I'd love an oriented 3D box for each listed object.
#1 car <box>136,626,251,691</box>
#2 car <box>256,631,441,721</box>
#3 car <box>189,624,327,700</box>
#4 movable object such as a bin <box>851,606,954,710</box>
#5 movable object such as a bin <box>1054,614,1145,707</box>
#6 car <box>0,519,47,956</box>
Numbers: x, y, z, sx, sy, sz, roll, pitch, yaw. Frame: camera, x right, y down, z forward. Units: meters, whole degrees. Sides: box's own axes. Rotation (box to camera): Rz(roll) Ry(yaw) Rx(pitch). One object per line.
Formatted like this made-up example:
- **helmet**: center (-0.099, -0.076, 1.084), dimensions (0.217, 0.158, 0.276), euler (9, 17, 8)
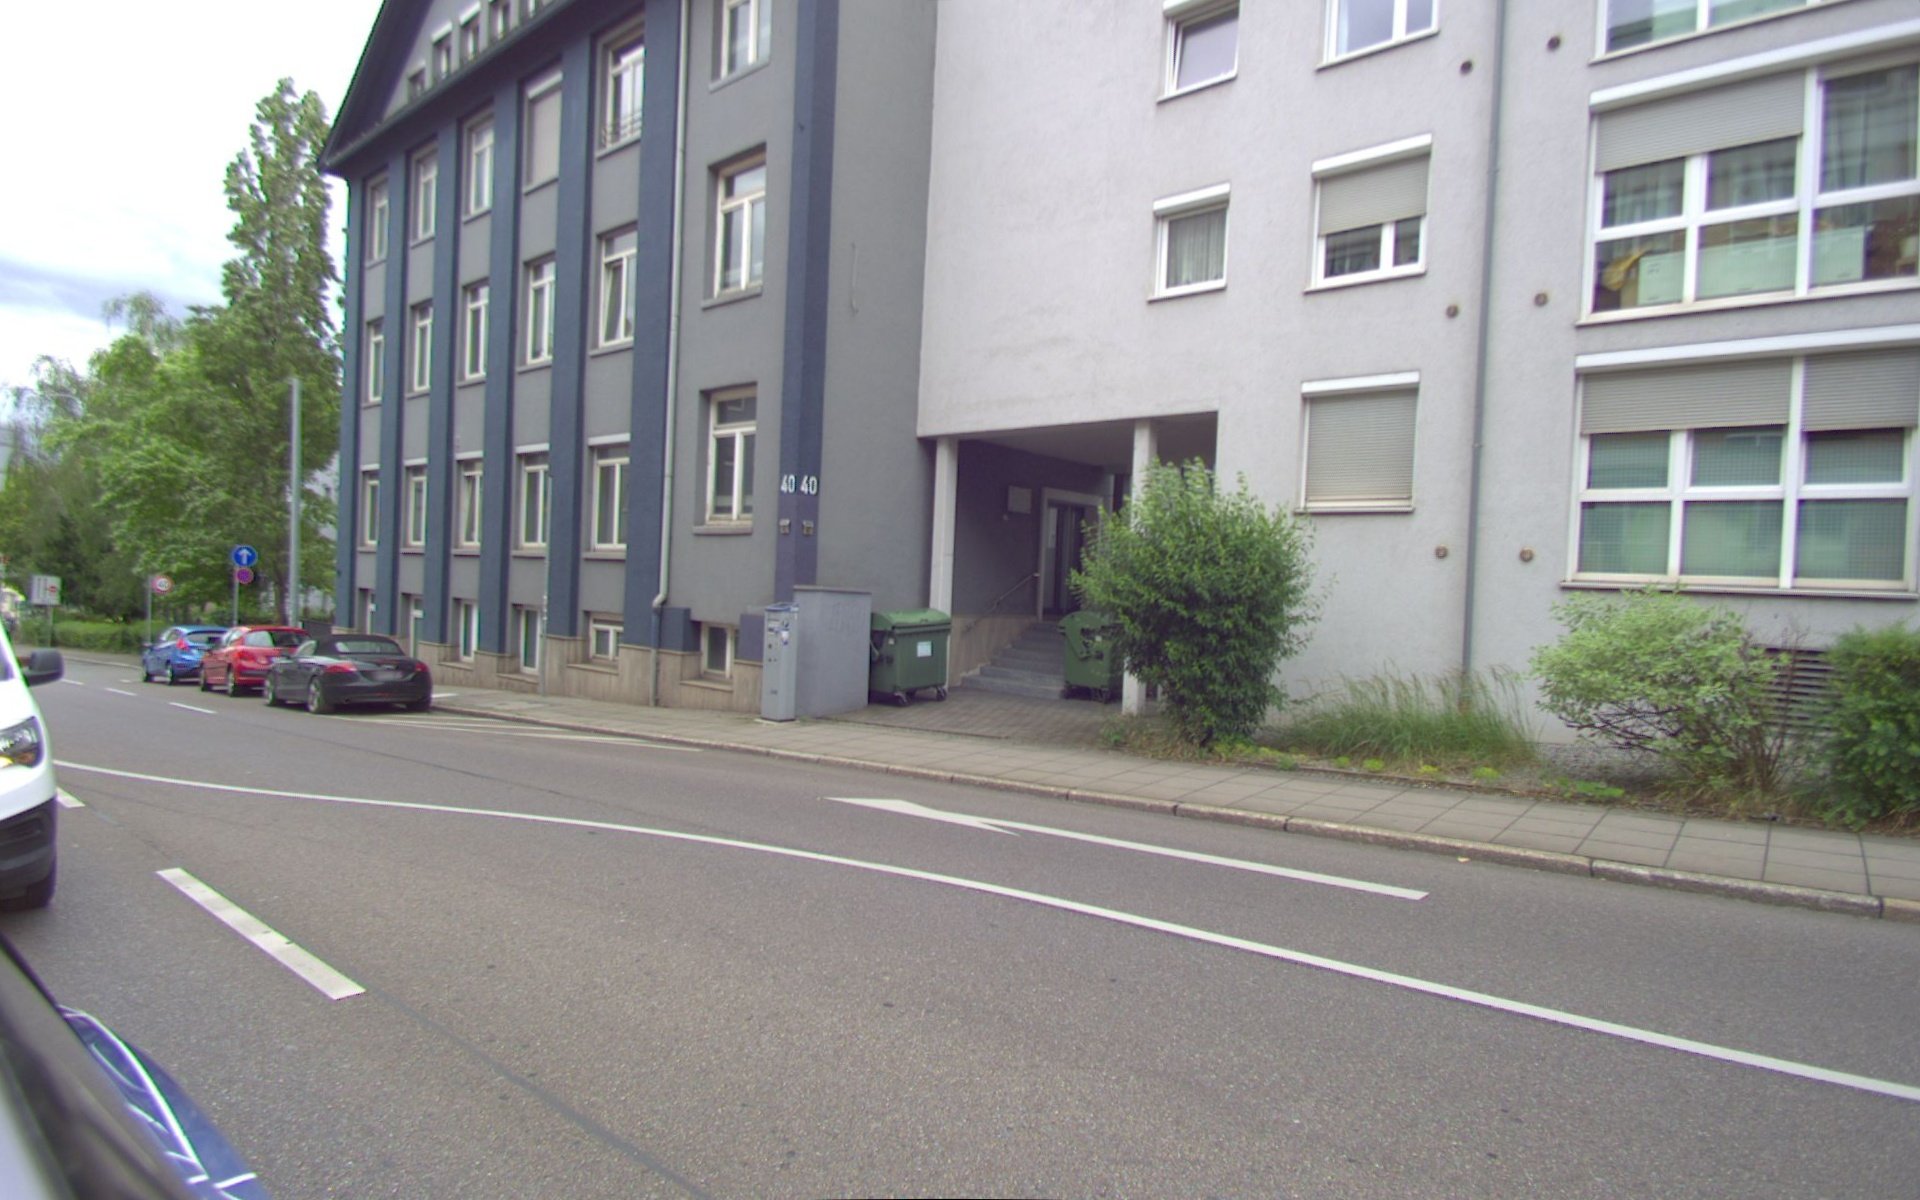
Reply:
- **car**: center (-19.572, 1.437, 25.785), dimensions (3.727, 1.460, 1.623), euler (-1, 0, 41)
- **car**: center (-11.001, 1.272, 18.133), dimensions (3.727, 1.403, 1.778), euler (-1, -2, 41)
- **car**: center (-15.332, 1.286, 22.038), dimensions (3.727, 1.460, 1.623), euler (-1, 0, 41)
- **movable object such as a bin**: center (-0.890, 0.859, 15.707), dimensions (1.039, 1.518, 1.213), euler (-1, 0, 41)
- **movable object such as a bin**: center (2.282, 0.955, 16.539), dimensions (1.078, 1.427, 1.026), euler (-1, 0, 41)
- **car**: center (-6.147, 0.624, 5.194), dimensions (3.998, 1.901, 1.716), euler (-1, 0, 41)
